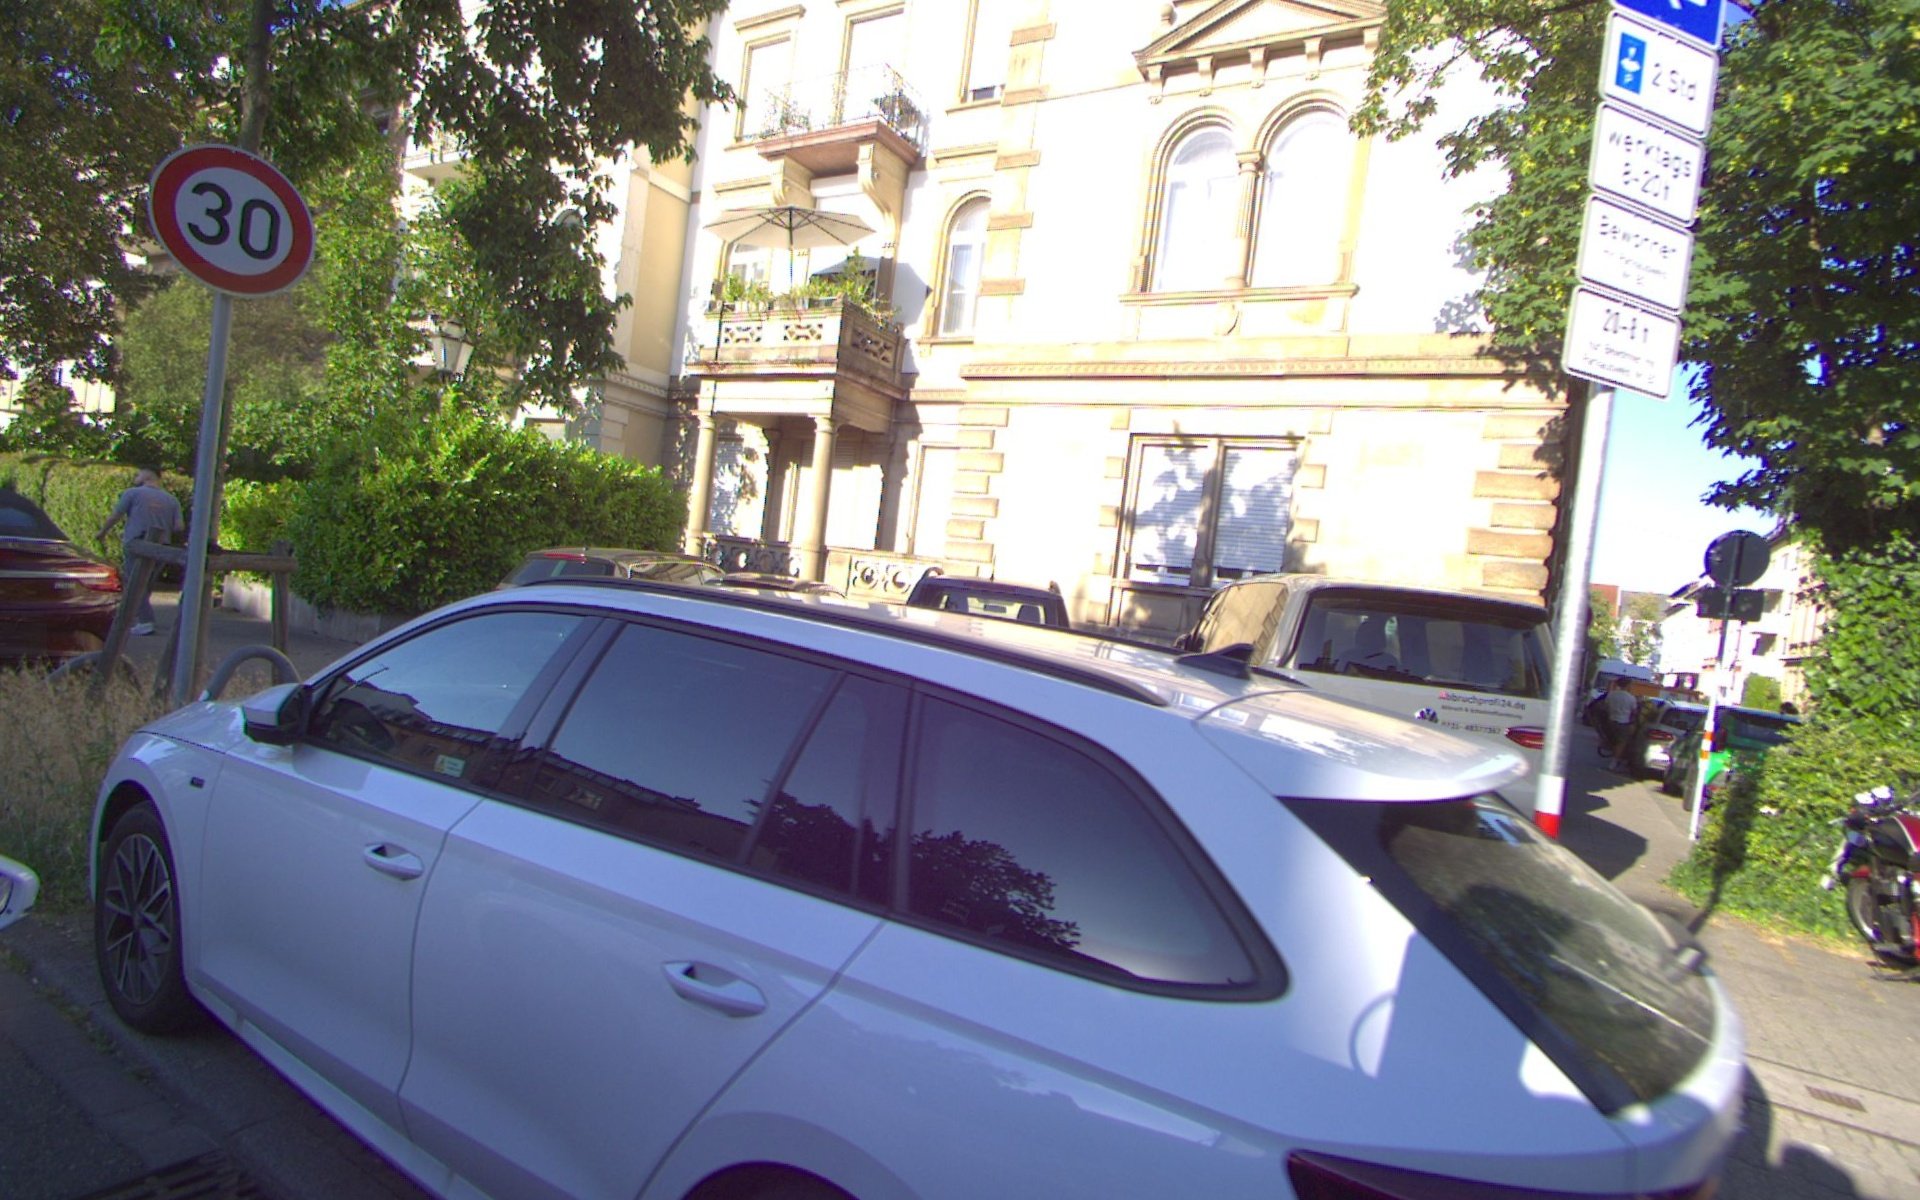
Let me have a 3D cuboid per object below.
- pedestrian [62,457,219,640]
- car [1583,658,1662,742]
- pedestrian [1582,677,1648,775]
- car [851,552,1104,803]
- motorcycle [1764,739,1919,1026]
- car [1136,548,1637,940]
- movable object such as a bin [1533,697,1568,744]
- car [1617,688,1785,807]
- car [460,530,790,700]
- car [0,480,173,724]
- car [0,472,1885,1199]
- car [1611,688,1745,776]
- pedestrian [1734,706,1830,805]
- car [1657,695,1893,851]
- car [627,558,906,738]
[{"bbox_3d":[-8.798,-0.544,10.808,1.070,1.796,0.822,7,1,27],"label":"pedestrian"},{"bbox_3d":[24.766,3.691,37.752,1.967,2.706,4.573,7,0,31],"label":"car"},{"bbox_3d":[12.012,2.291,18.482,0.548,1.664,0.954,7,1,13],"label":"pedestrian"},{"bbox_3d":[0.202,0.587,9.742,1.754,1.721,4.099,7,1,2],"label":"car"},{"bbox_3d":[5.372,1.524,5.505,0.775,1.255,2.162,7,0,21],"label":"motorcycle"},{"bbox_3d":[2.758,0.822,7.992,1.884,1.923,4.940,7,0,3],"label":"car"},{"bbox_3d":[13.739,2.787,23.417,0.592,0.989,0.507,7,1,31],"label":"movable object such as a bin"},{"bbox_3d":[13.196,2.531,18.160,1.742,1.559,3.994,10,1,30],"label":"car"},{"bbox_3d":[-3.825,0.155,12.389,1.758,1.530,4.250,7,2,13],"label":"car"},{"bbox_3d":[-7.649,-0.210,7.109,4.537,1.439,1.758,7,2,31],"label":"car"},{"bbox_3d":[-0.768,0.633,2.828,4.545,1.496,1.823,7,0,32],"label":"car"},{"bbox_3d":[16.025,2.873,22.660,1.967,1.504,3.992,7,0,31],"label":"car"},{"bbox_3d":[14.573,2.729,17.874,0.996,1.509,1.229,7,0,31],"label":"pedestrian"},{"bbox_3d":[11.289,2.282,14.250,1.742,1.502,3.994,10,1,30],"label":"car"},{"bbox_3d":[-1.917,0.426,11.323,1.684,1.460,4.099,7,2,8],"label":"car"}]
